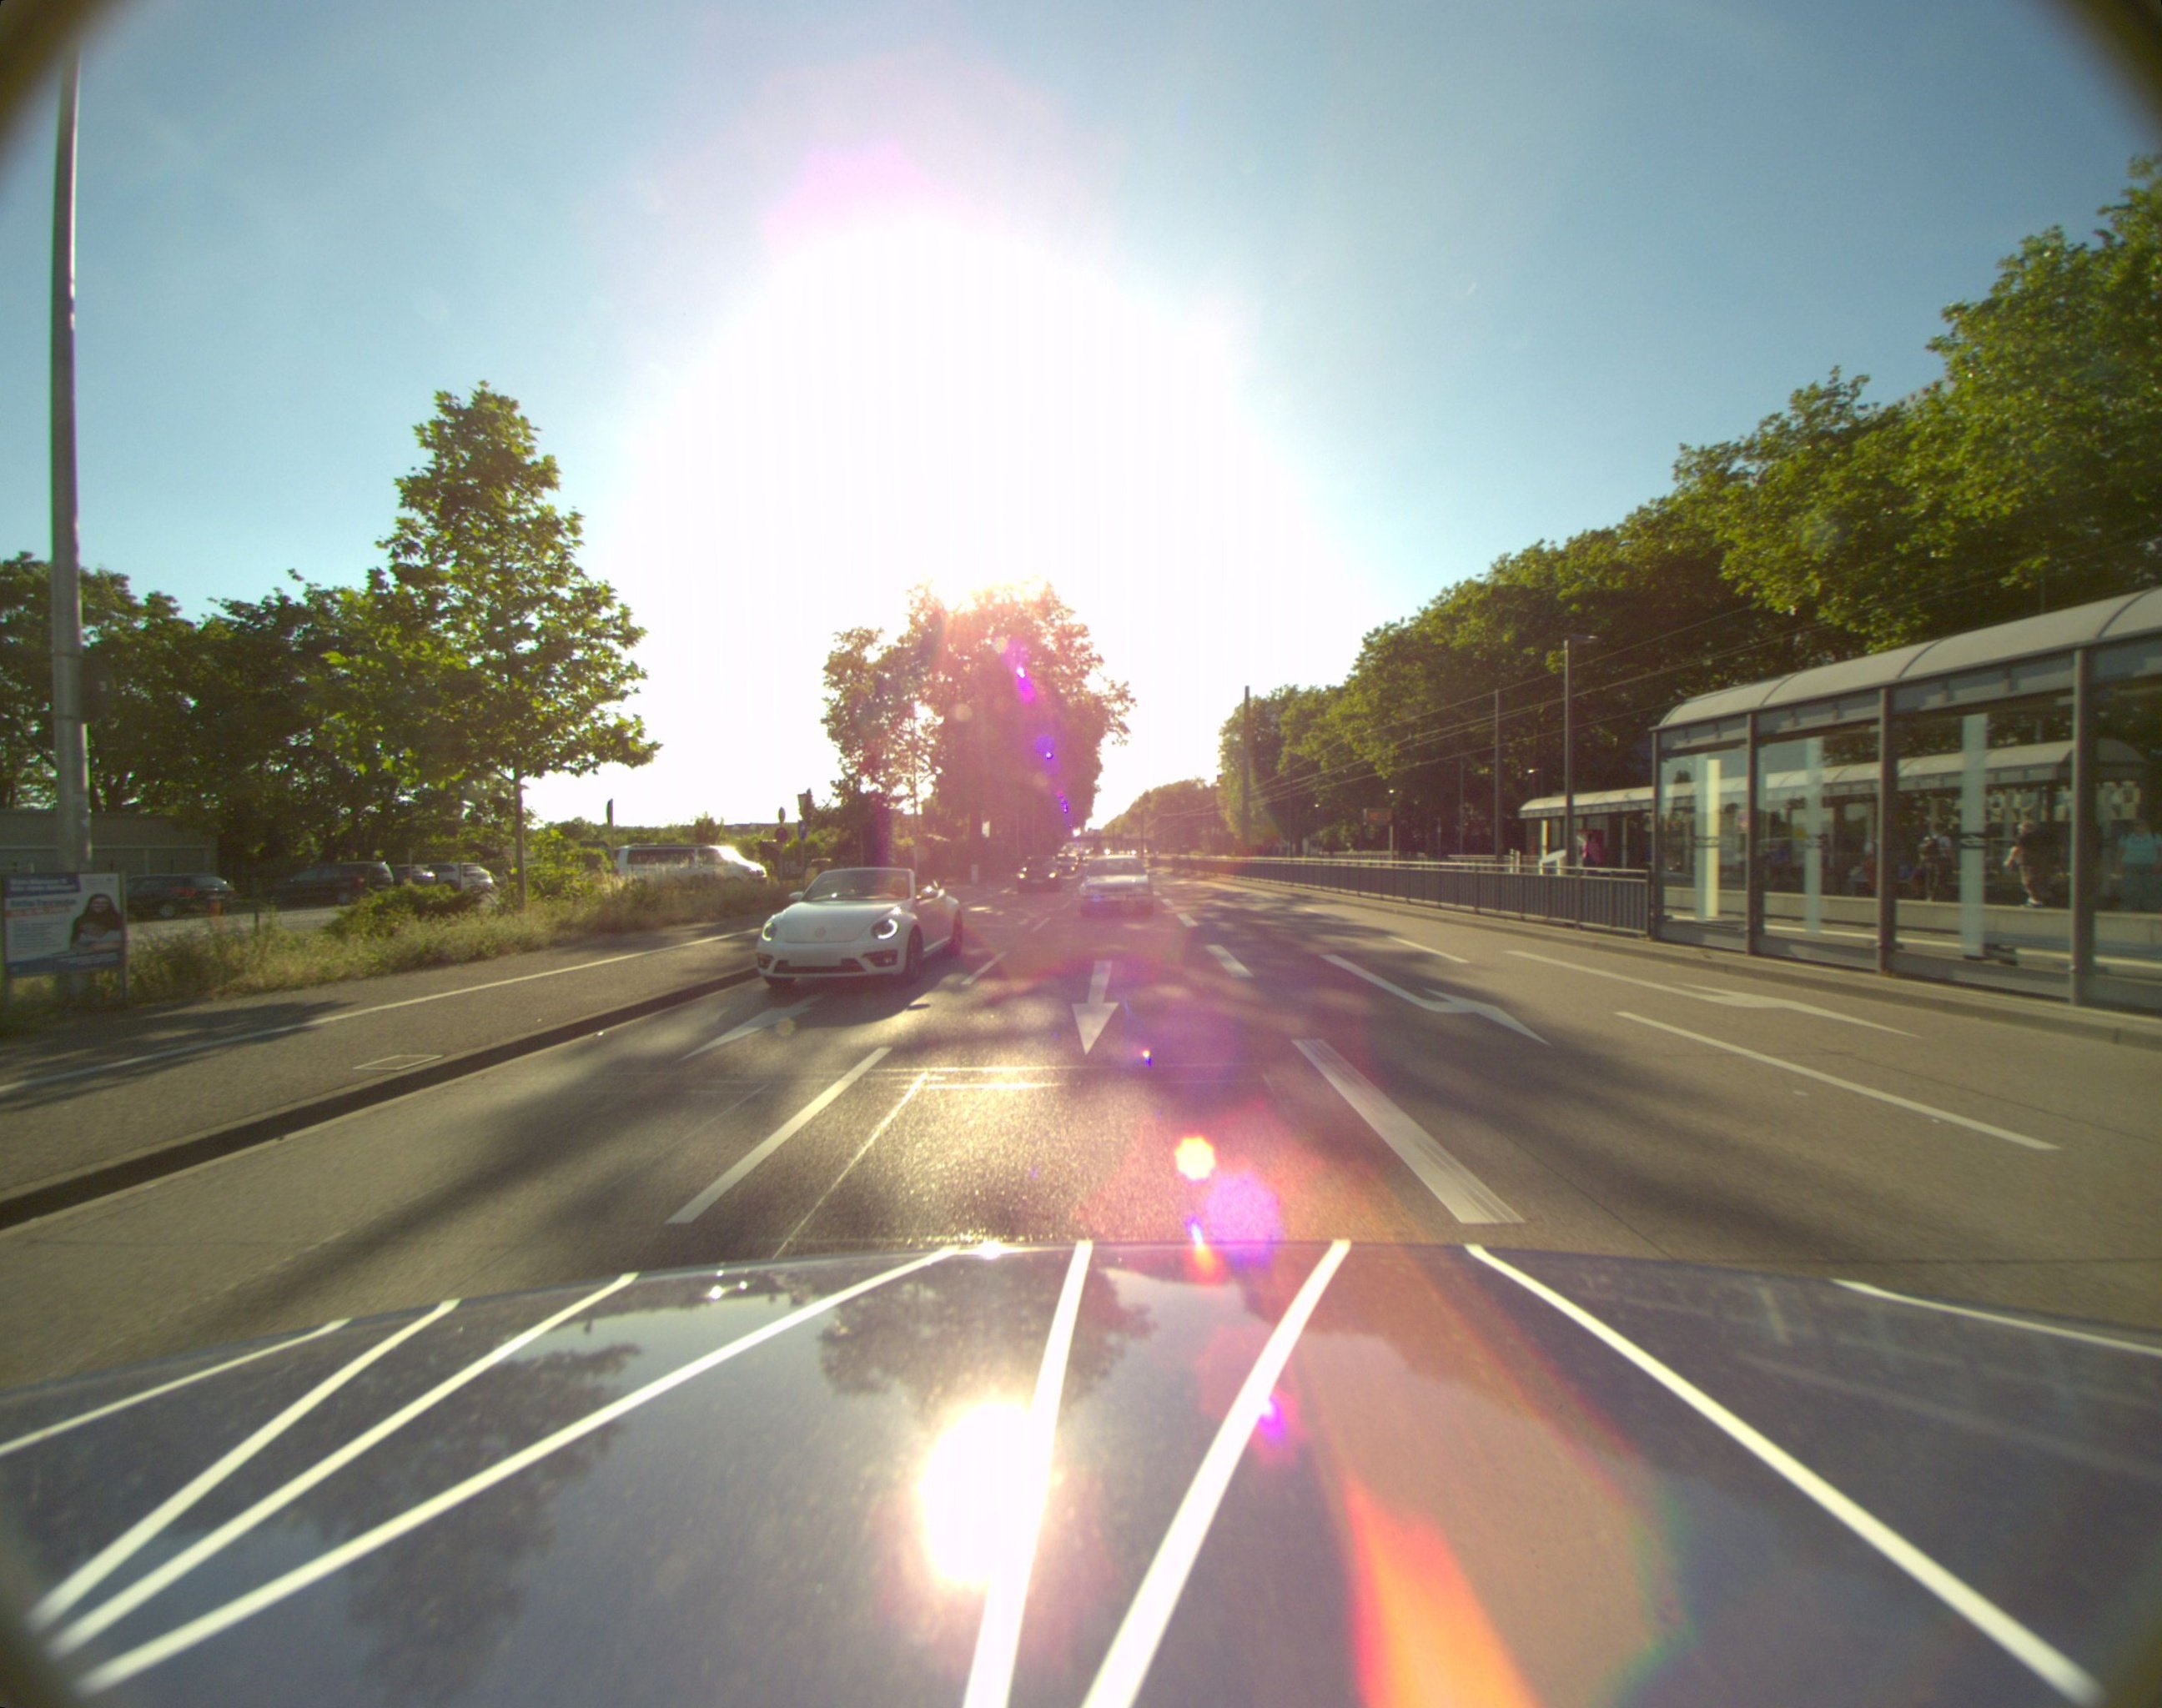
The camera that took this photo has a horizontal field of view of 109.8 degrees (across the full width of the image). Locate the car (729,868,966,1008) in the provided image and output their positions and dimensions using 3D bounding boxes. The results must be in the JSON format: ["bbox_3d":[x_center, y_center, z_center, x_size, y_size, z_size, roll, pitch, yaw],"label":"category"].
[{"bbox_3d":[-2.872,0.968,10.357,1.856,1.415,3.980,-1,0,2],"label":"car"}]

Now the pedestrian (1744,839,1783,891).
[{"bbox_3d":[19.416,0.305,21.616,0.616,1.460,0.544,-1,1,-10],"label":"pedestrian"}]

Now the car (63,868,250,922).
[{"bbox_3d":[-31.568,1.369,26.046,4.031,1.577,1.684,-3,1,-5],"label":"car"}]

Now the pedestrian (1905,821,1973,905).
[{"bbox_3d":[18.528,0.190,16.415,0.654,1.732,0.685,-3,1,-4],"label":"pedestrian"}]

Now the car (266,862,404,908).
[{"bbox_3d":[-30.671,1.261,31.329,3.874,1.631,1.664,-3,1,-3],"label":"car"}]

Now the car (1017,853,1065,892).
[{"bbox_3d":[-1.648,0.726,32.420,1.740,1.502,4.000,-2,0,1],"label":"car"}]

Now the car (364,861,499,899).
[{"bbox_3d":[-31.145,1.214,36.544,4.662,1.560,1.858,-3,1,-4],"label":"car"}]

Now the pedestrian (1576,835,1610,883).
[{"bbox_3d":[18.396,0.174,27.323,0.763,1.700,0.678,-1,1,0],"label":"pedestrian"}]

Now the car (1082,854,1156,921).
[{"bbox_3d":[0.856,0.751,19.049,1.602,1.440,3.799,-2,1,0],"label":"car"}]

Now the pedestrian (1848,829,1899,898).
[{"bbox_3d":[18.981,0.231,18.208,0.576,1.626,0.644,-1,1,7],"label":"pedestrian"}]

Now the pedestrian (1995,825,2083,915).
[{"bbox_3d":[17.982,0.292,14.275,0.662,1.623,0.776,-2,1,0],"label":"pedestrian"}]

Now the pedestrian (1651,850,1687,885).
[{"bbox_3d":[19.410,0.437,25.088,0.679,1.155,0.624,-1,1,-4],"label":"pedestrian"}]

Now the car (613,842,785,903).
[{"bbox_3d":[-14.419,0.676,28.968,5.351,2.010,2.103,-3,1,-3],"label":"car"}]

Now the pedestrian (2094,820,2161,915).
[{"bbox_3d":[19.442,0.232,13.983,0.734,1.682,0.686,-3,1,-12],"label":"pedestrian"}]

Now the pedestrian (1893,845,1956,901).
[{"bbox_3d":[19.368,0.424,17.453,0.654,1.245,0.685,-3,1,-4],"label":"pedestrian"}]

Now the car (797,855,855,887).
[{"bbox_3d":[-13.849,0.891,41.524,1.999,1.638,4.154,-1,0,-4],"label":"car"}]

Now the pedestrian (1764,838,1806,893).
[{"bbox_3d":[19.388,0.304,20.919,0.671,1.483,0.576,-1,1,-14],"label":"pedestrian"}]

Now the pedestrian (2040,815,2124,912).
[{"bbox_3d":[19.439,0.186,14.771,0.734,1.810,0.687,-3,1,-7],"label":"pedestrian"}]

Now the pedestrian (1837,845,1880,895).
[{"bbox_3d":[19.623,0.392,19.168,0.578,1.250,0.669,-1,1,-35],"label":"pedestrian"}]

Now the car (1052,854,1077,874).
[{"bbox_3d":[-1.268,0.754,60.531,1.871,1.422,3.830,-3,0,0],"label":"car"}]

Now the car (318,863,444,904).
[{"bbox_3d":[-31.057,1.278,33.776,3.839,1.577,1.722,-3,1,-3],"label":"car"}]

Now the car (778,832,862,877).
[{"bbox_3d":[-16.165,0.014,47.472,2.940,2.607,5.923,-1,0,2],"label":"car"}]

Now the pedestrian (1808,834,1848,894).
[{"bbox_3d":[19.659,0.255,20.010,0.576,1.568,0.488,-1,1,7],"label":"pedestrian"}]
